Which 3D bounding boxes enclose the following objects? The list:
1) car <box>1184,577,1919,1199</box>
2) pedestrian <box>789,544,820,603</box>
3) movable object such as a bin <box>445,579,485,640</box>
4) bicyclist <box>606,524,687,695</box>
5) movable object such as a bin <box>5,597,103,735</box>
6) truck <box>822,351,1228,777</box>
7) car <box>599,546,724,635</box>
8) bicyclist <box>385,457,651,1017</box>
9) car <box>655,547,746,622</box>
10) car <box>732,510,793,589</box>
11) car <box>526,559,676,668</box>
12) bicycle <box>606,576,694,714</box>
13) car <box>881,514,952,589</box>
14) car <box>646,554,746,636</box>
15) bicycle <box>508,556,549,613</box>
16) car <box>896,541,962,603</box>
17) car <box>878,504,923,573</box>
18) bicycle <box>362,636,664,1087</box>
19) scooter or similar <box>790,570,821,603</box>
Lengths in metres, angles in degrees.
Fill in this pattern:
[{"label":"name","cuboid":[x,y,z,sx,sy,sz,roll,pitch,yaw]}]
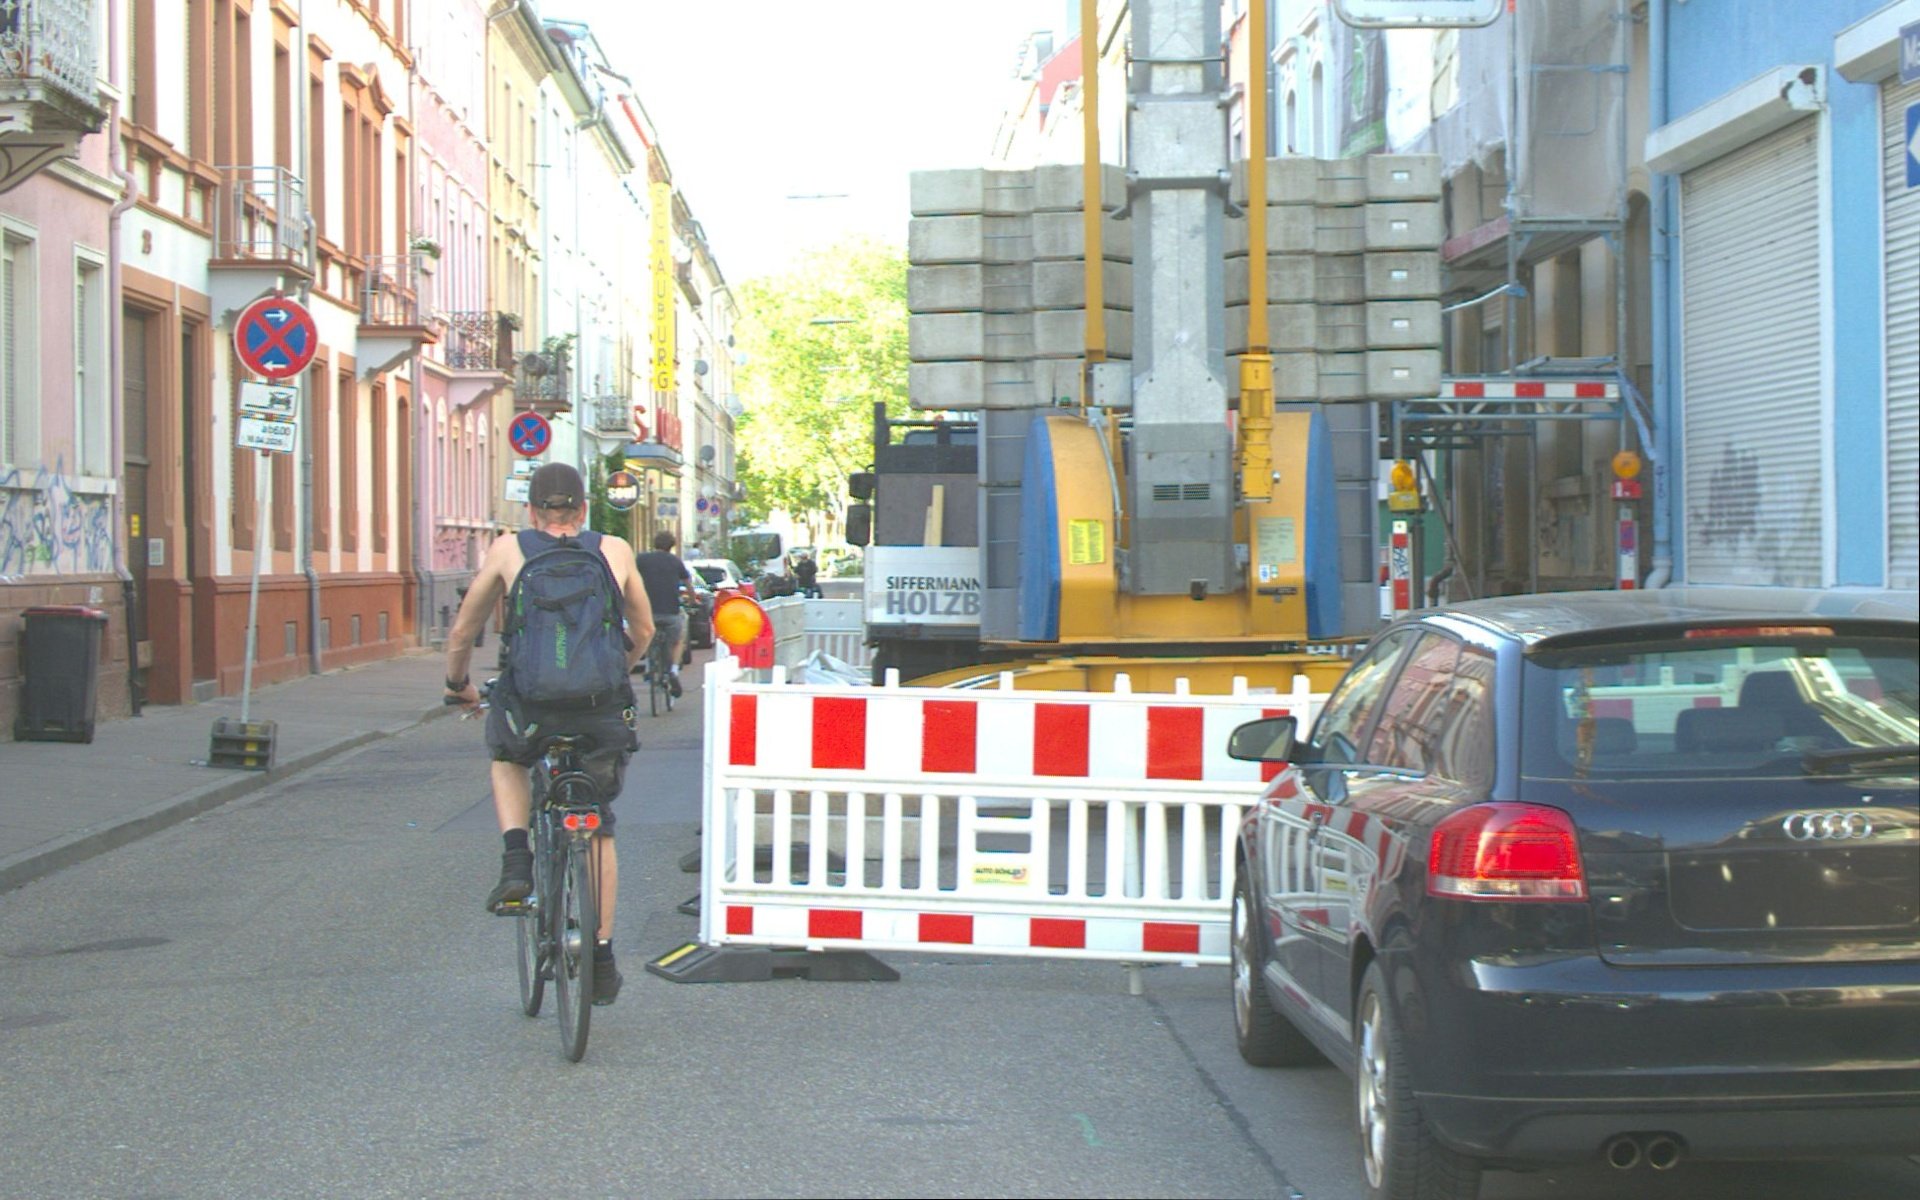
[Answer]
[{"label":"car","cuboid":[1.692,0.678,8.995,1.771,1.429,4.034,1,1,-2]},{"label":"pedestrian","cuboid":[-4.171,-0.715,92.292,0.770,1.573,0.900,1,0,-6]},{"label":"movable object such as a bin","cuboid":[-7.737,0.145,53.784,0.543,0.941,0.487,1,0,-1]},{"label":"bicyclist","cuboid":[-2.999,0.079,32.940,0.702,1.599,0.813,-1,2,-2]},{"label":"movable object such as a bin","cuboid":[-6.930,0.501,26.321,0.605,1.032,0.596,1,0,-3]},{"label":"truck","cuboid":[0.341,-0.269,26.646,2.661,2.804,7.394,1,0,-1]},{"label":"car","cuboid":[-5.046,-0.184,58.503,1.710,1.378,4.356,0,2,0]},{"label":"bicyclist","cuboid":[-1.334,0.393,10.543,0.702,1.627,1.090,0,0,-2]},{"label":"car","cuboid":[-5.363,-0.333,71.365,1.672,1.437,3.768,-2,1,-2]},{"label":"car","cuboid":[-6.498,-1.663,112.841,1.909,2.488,4.166,-1,1,-4]},{"label":"car","cuboid":[-4.962,0.161,47.966,1.710,1.378,4.506,-2,1,-2]},{"label":"bicycle","cuboid":[-2.969,0.406,33.107,0.702,1.203,2.342,-1,2,-2]},{"label":"car","cuboid":[-1.600,-1.731,124.096,2.307,2.529,6.770,-2,1,-2]},{"label":"car","cuboid":[-5.003,-0.112,65.546,1.672,1.437,4.166,-2,1,-2]},{"label":"bicycle","cuboid":[-8.416,-0.300,67.110,0.592,1.085,2.079,1,0,-2]},{"label":"car","cuboid":[-0.850,-0.749,91.892,1.620,1.545,4.000,-2,1,-2]},{"label":"car","cuboid":[-3.423,-3.493,197.161,2.307,3.755,6.770,-2,1,-2]},{"label":"bicycle","cuboid":[-1.343,0.738,10.715,0.702,1.204,2.342,0,0,-2]},{"label":"scooter or similar","cuboid":[-4.120,-0.364,91.747,0.770,0.870,0.771,1,0,-6]}]
